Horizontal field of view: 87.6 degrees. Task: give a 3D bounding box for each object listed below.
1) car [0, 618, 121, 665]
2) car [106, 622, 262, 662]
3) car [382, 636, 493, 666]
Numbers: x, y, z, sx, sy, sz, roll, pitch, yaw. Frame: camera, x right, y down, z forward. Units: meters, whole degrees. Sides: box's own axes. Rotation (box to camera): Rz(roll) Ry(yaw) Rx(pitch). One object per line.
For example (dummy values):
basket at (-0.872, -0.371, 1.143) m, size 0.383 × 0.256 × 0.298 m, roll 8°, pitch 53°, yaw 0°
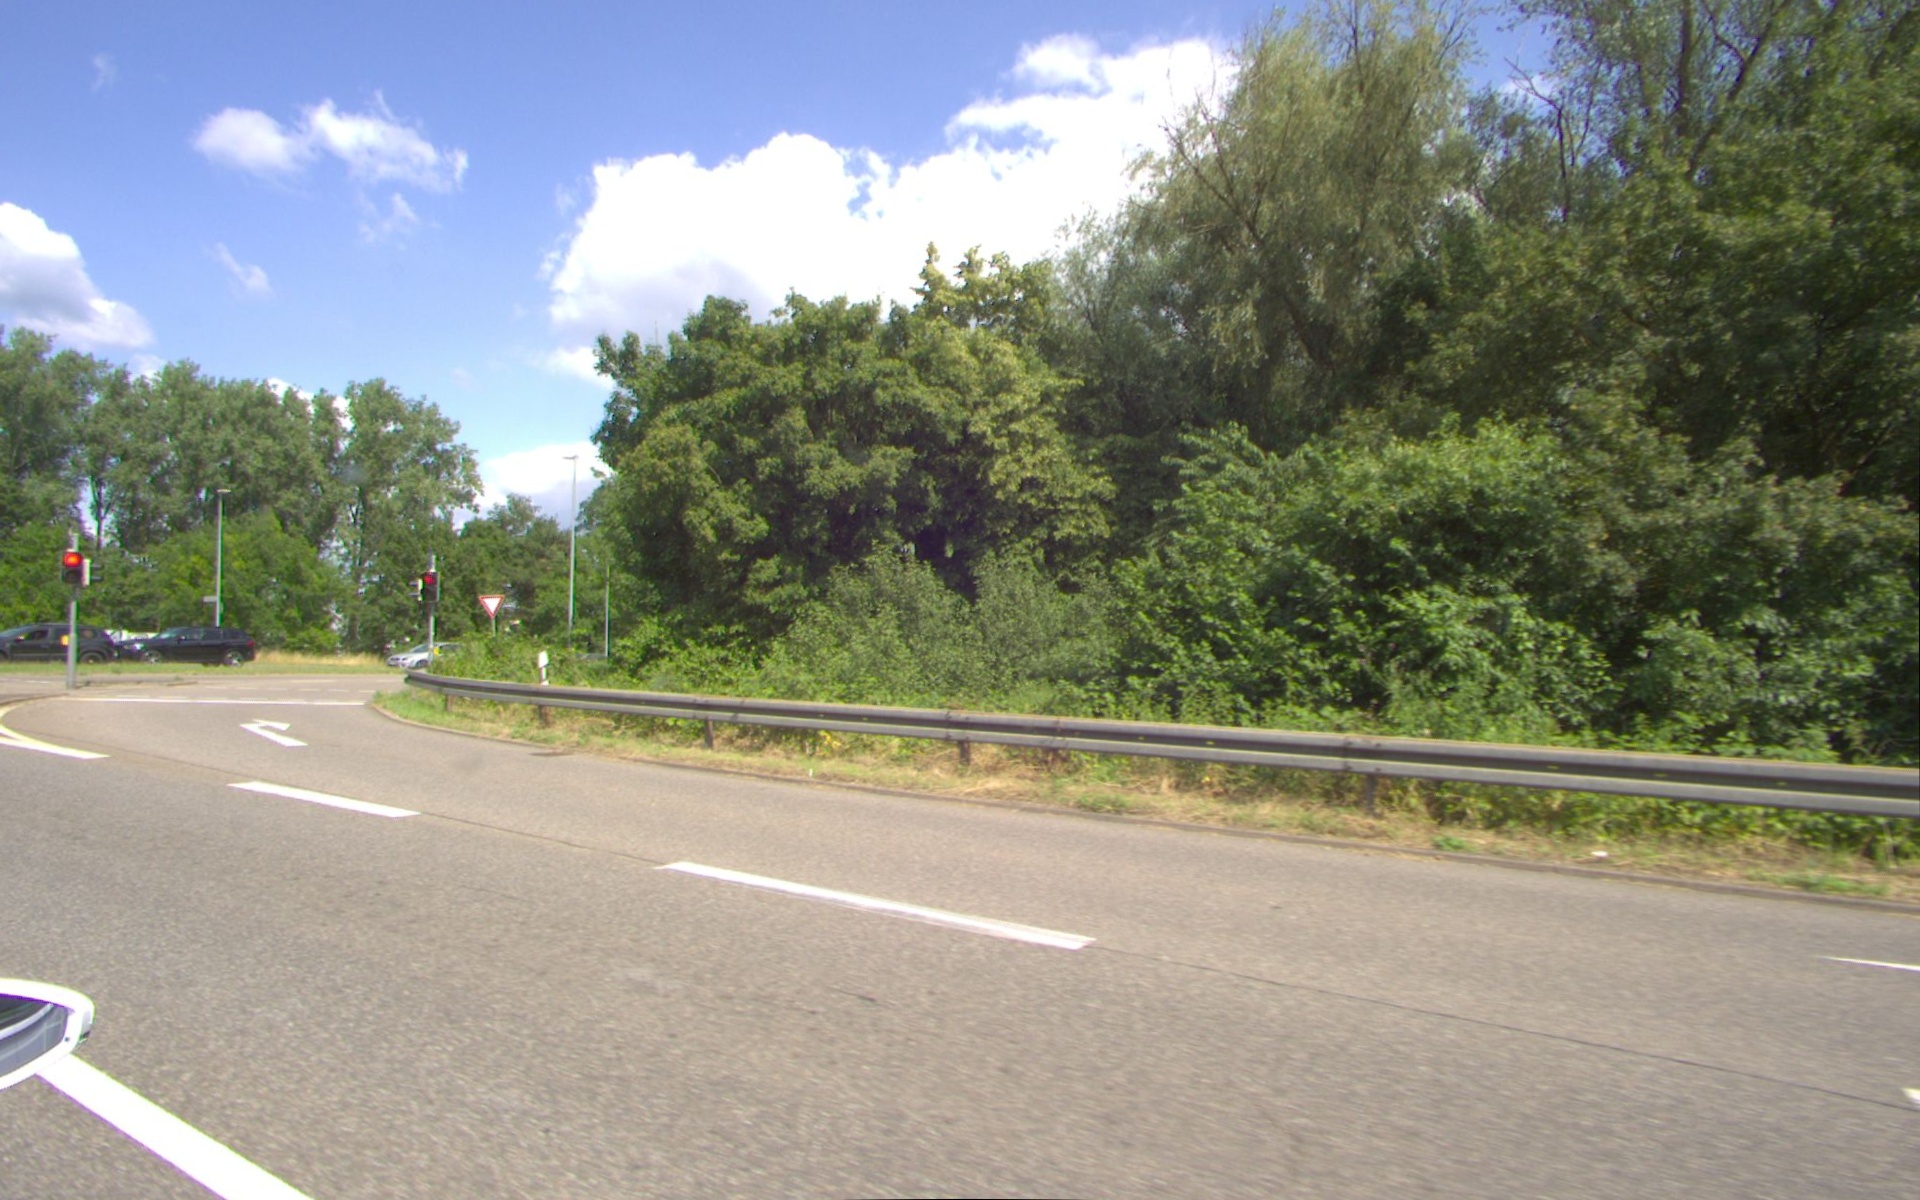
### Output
car at (-31.700, 1.414, 34.269) m, size 1.711 × 1.564 × 4.265 m, roll 0°, pitch -2°, yaw 30°
car at (-32.062, 1.758, 41.539) m, size 1.711 × 1.564 × 4.843 m, roll 0°, pitch -2°, yaw 30°
car at (-24.680, 2.398, 47.435) m, size 1.710 × 1.337 × 4.472 m, roll 0°, pitch -2°, yaw 28°
